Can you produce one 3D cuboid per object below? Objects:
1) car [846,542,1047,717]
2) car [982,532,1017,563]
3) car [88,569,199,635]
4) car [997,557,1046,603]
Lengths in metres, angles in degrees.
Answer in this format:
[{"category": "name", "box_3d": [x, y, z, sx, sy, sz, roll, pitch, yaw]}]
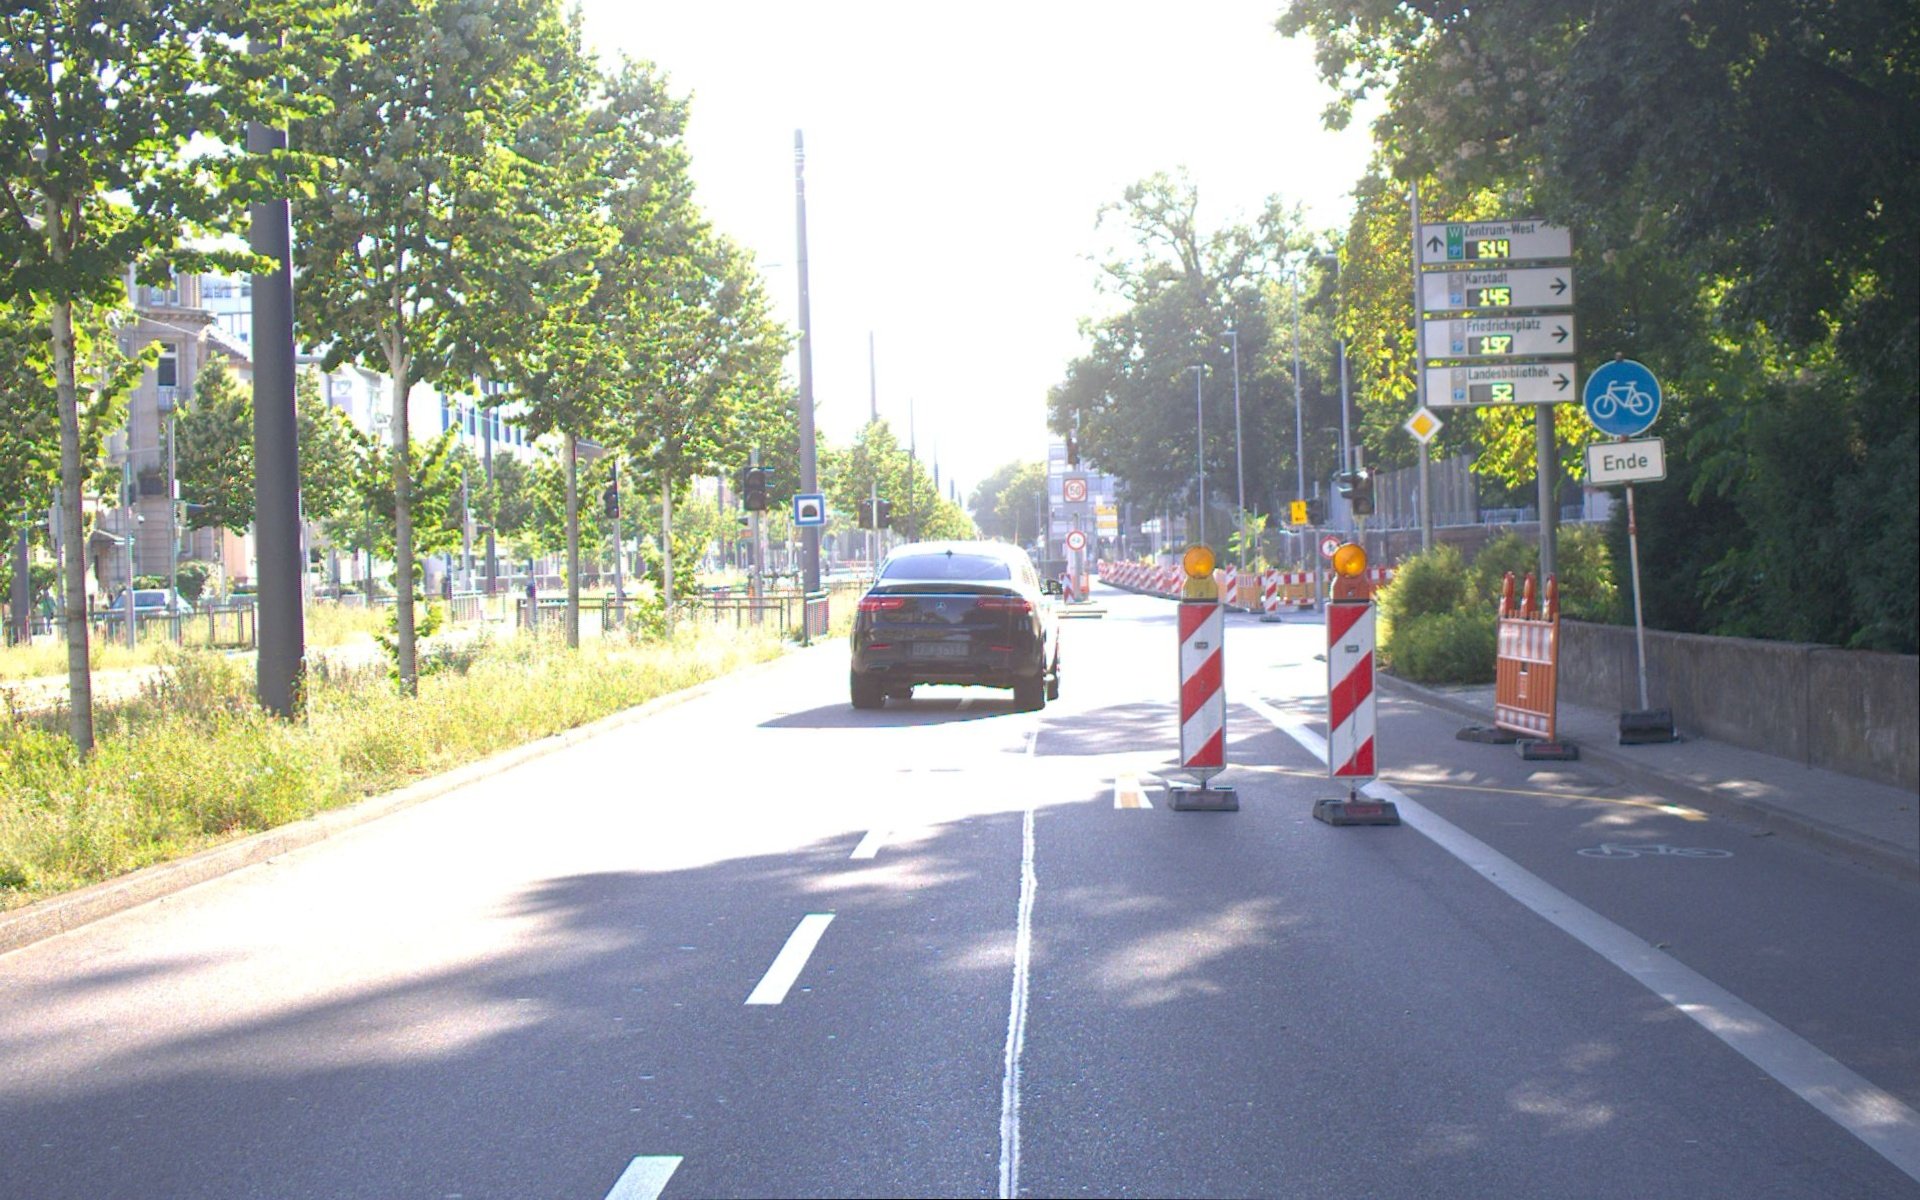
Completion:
[{"category": "car", "box_3d": [-0.105, 0.263, 36.470, 1.993, 1.728, 4.000, -1, 1, 1]}, {"category": "car", "box_3d": [2.162, -2.878, 188.147, 1.886, 1.575, 4.000, -1, 2, 1]}, {"category": "car", "box_3d": [-21.517, 0.031, 90.698, 1.884, 1.634, 4.000, -2, 1, 1]}, {"category": "car", "box_3d": [2.266, -0.769, 127.590, 1.767, 1.598, 3.773, -2, 1, 1]}]
